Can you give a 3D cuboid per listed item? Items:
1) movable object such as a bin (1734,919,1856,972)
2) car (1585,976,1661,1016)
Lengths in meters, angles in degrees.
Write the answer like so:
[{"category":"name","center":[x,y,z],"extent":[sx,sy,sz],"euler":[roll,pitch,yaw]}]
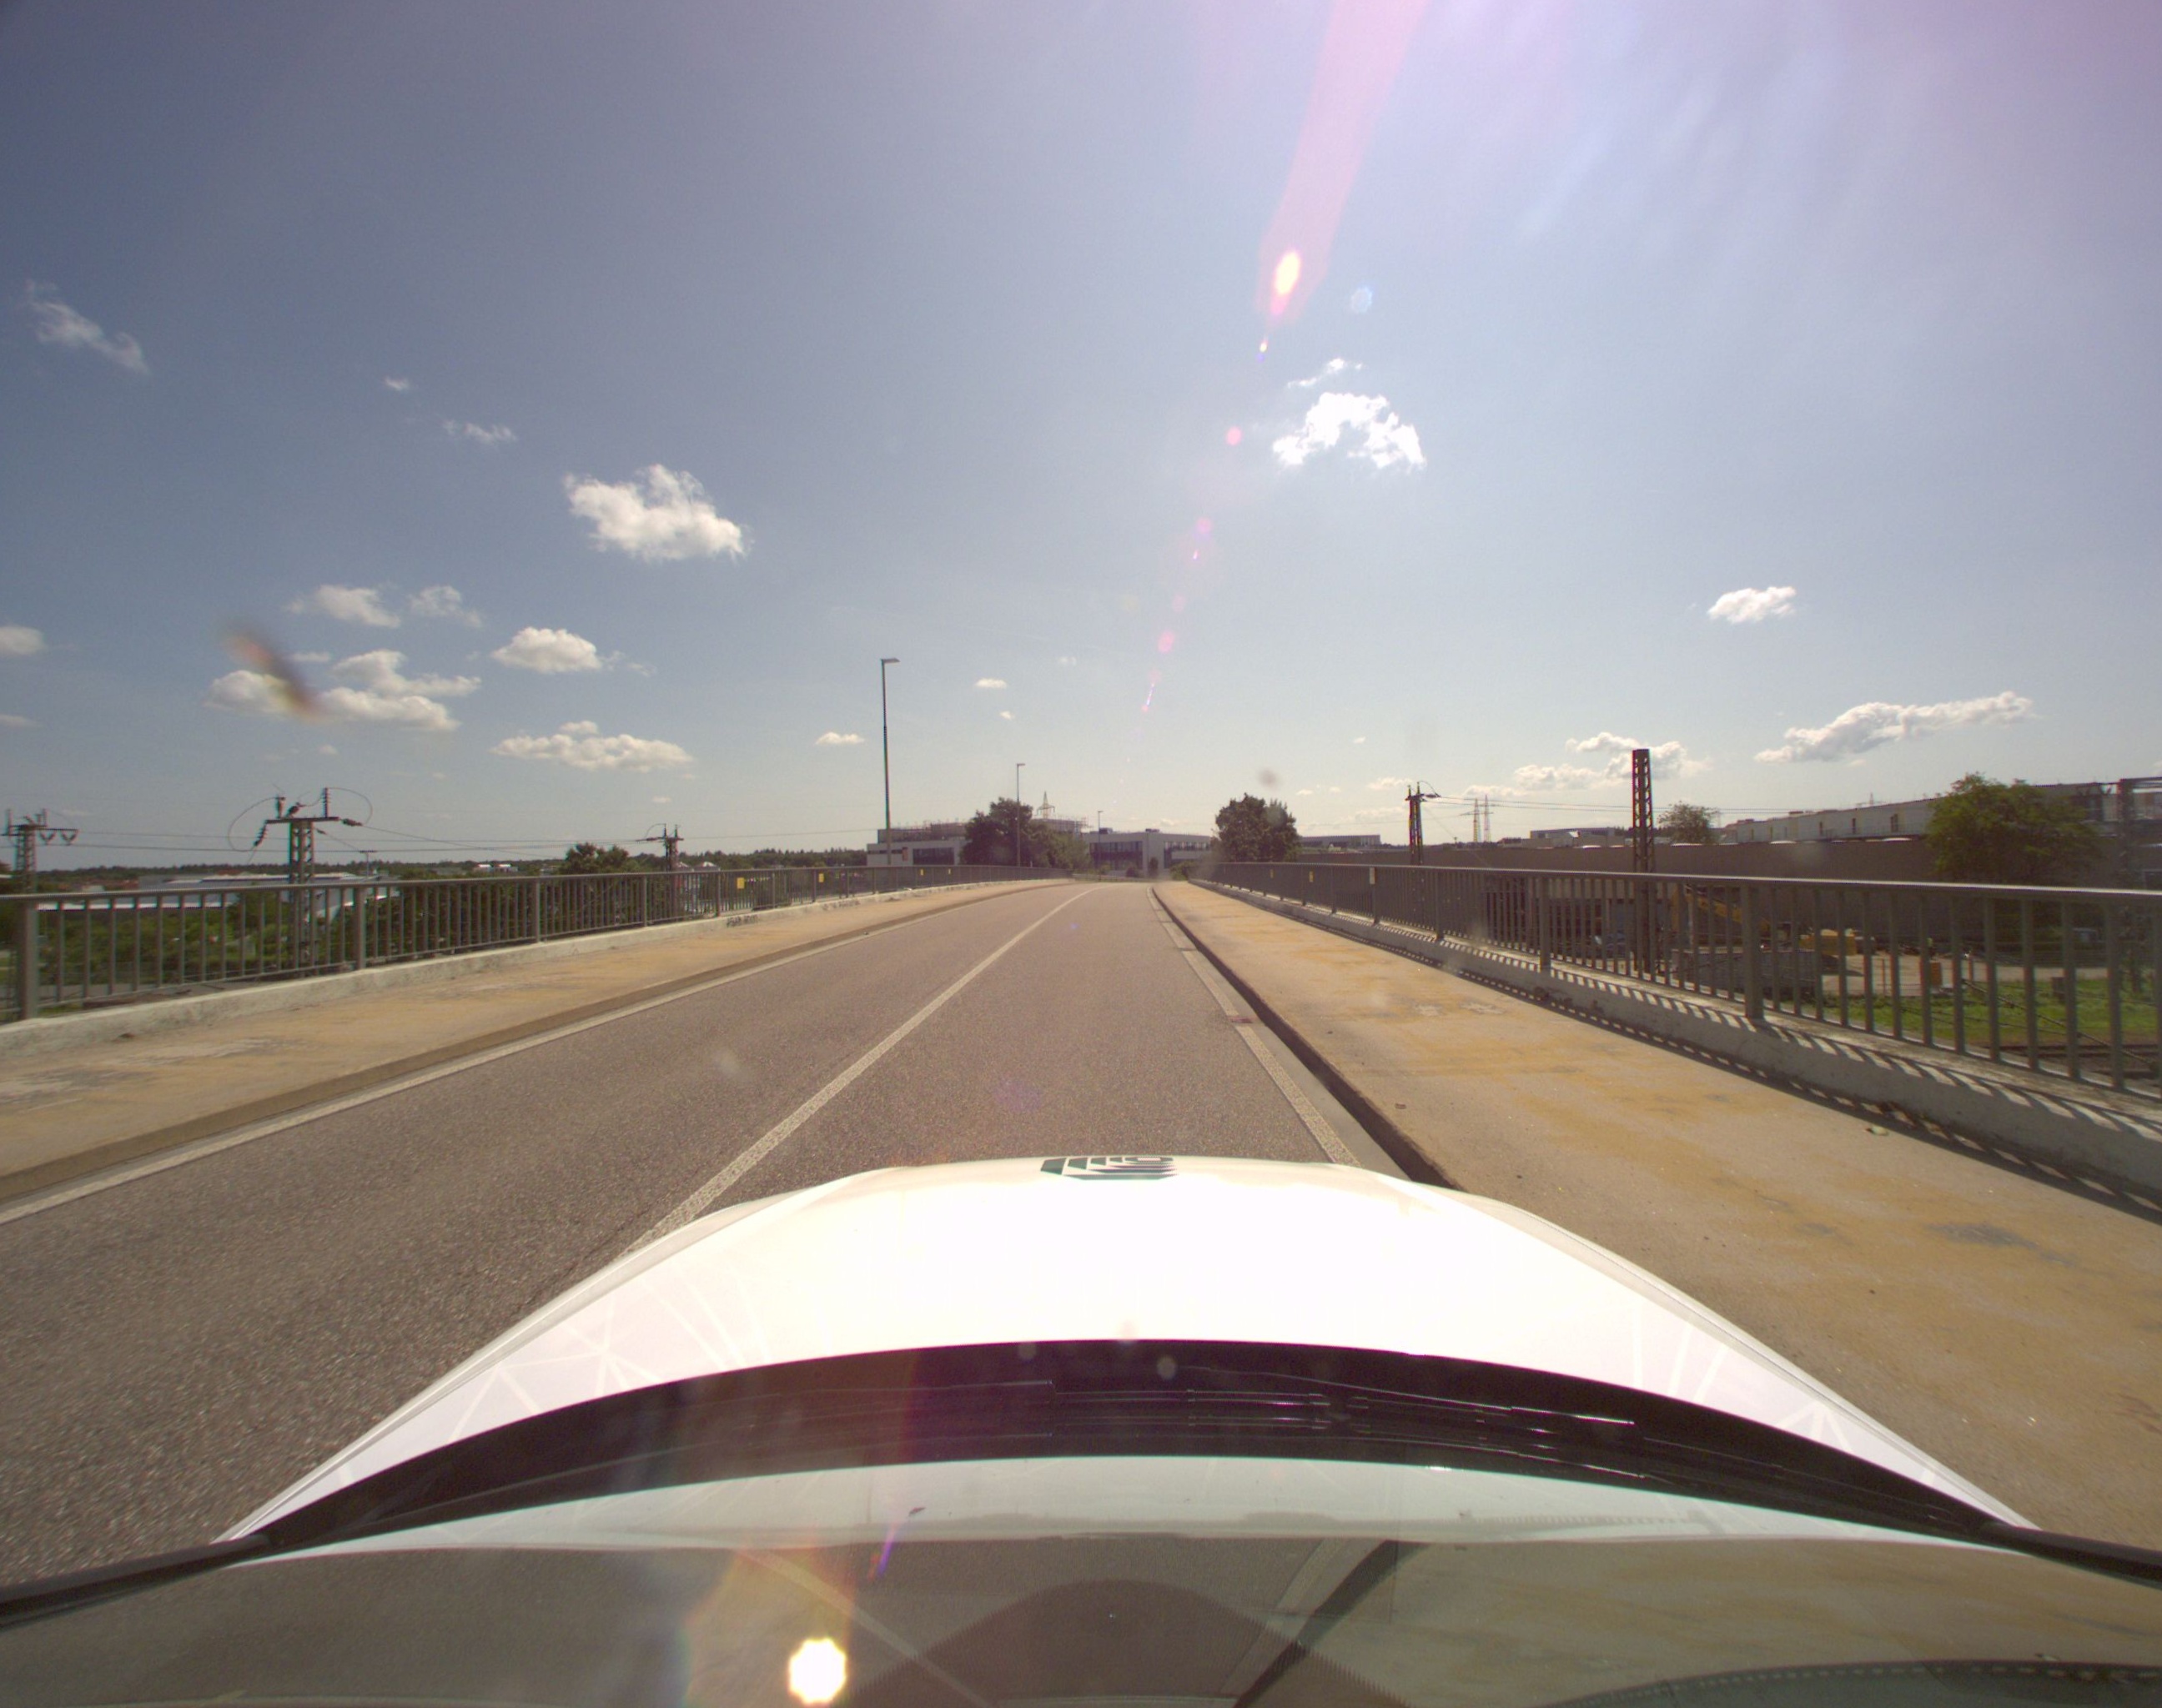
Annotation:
[{"category":"movable object such as a bin","center":[52.014,6.612,59.565],"extent":[6.143,3.290,3.269],"euler":[-1,0,30]},{"category":"car","center":[32.720,8.542,49.318],"extent":[1.984,1.595,4.250],"euler":[3,0,5]}]
